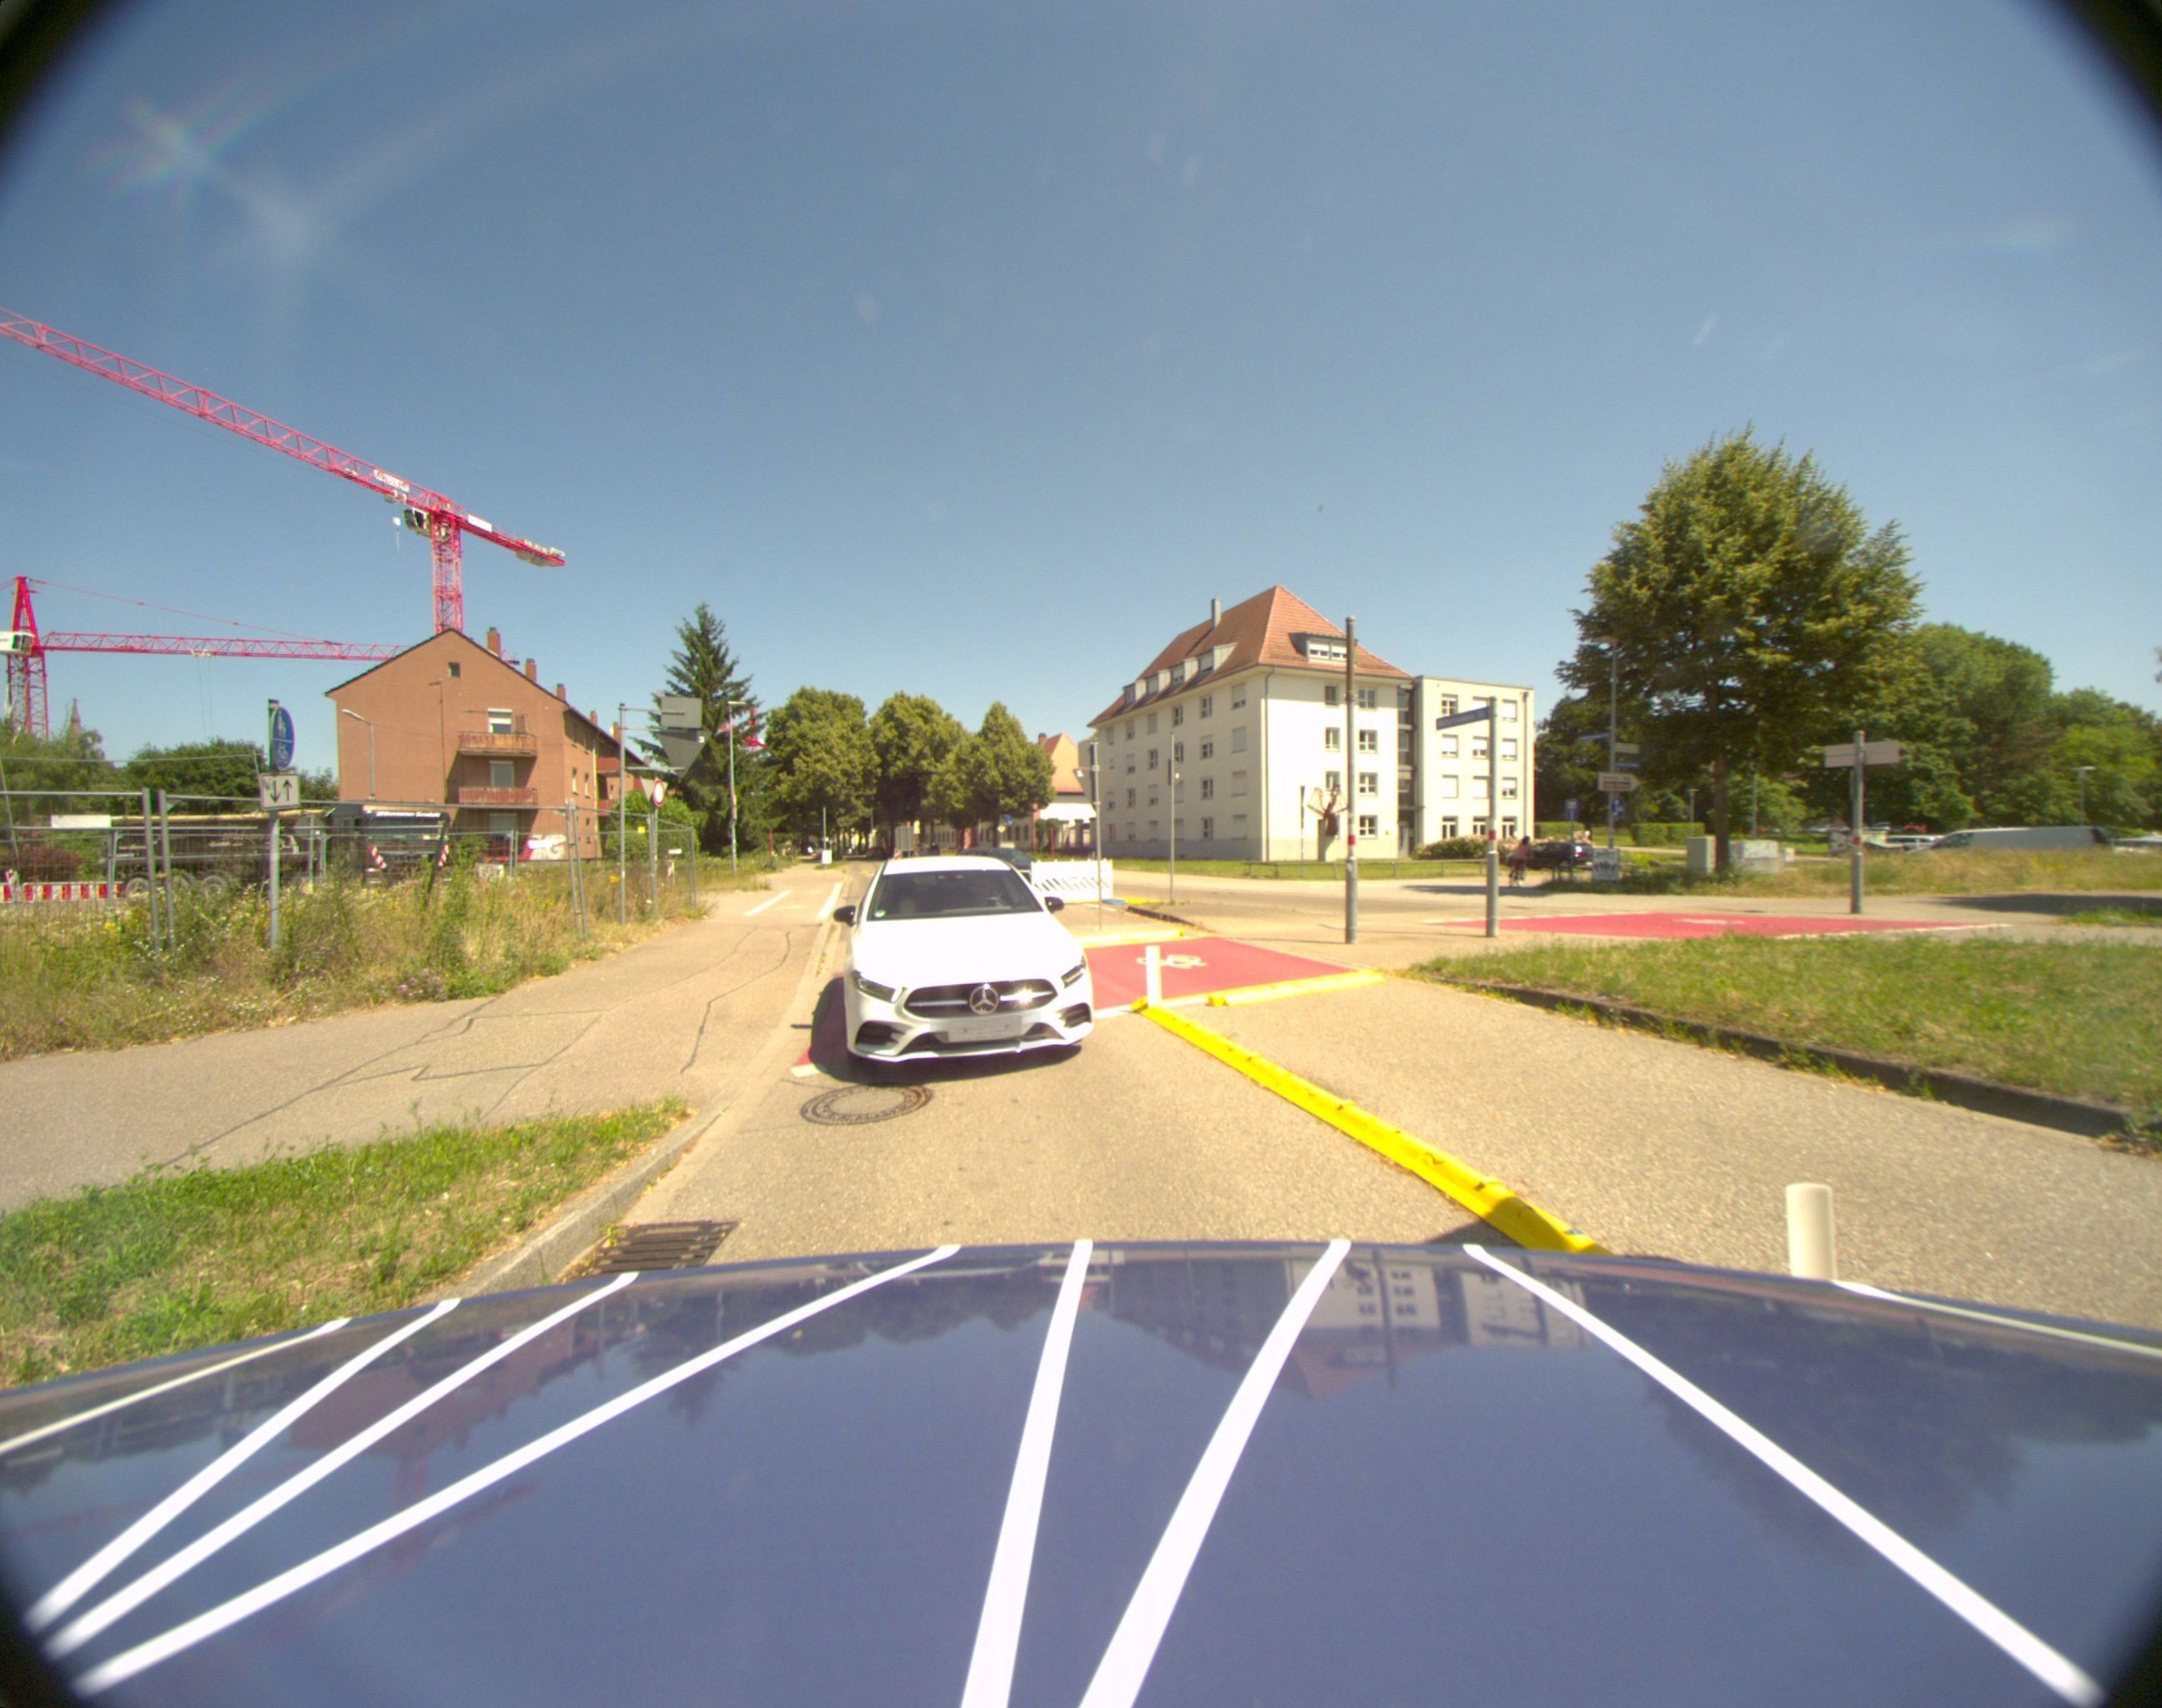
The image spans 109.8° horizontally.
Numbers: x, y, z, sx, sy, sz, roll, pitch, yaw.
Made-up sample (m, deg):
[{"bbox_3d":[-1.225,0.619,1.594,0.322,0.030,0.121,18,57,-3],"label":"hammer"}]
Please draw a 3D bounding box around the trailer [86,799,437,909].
[{"bbox_3d":[-28.567,-0.012,26.798,8.984,3.513,3.164,-1,1,2],"label":"trailer"}]

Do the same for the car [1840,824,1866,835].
[{"bbox_3d":[99.622,-3.163,98.034,3.032,1.408,1.476,-2,1,-27],"label":"car"}]

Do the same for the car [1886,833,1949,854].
[{"bbox_3d":[54.330,-0.682,49.367,1.084,1.350,2.525,-1,1,-15],"label":"car"}]

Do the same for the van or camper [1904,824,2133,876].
[{"bbox_3d":[36.290,-0.181,29.660,2.002,1.847,5.262,-1,1,-23],"label":"van or camper"}]

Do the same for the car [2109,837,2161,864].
[{"bbox_3d":[52.094,-0.175,36.231,1.357,1.274,3.378,-1,1,-15],"label":"car"}]

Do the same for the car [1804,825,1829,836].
[{"bbox_3d":[97.224,-3.159,100.400,3.032,1.408,1.476,-2,1,-27],"label":"car"}]

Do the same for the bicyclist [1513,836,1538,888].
[{"bbox_3d":[14.377,0.254,24.587,0.644,1.654,0.711,0,1,34],"label":"bicyclist"}]

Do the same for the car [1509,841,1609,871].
[{"bbox_3d":[22.772,0.076,36.365,1.661,1.319,3.800,-1,1,-22],"label":"car"}]

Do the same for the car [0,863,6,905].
[{"bbox_3d":[-43.290,1.207,28.595,3.417,1.604,1.369,-1,1,-3],"label":"car"}]

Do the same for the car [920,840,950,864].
[{"bbox_3d":[-11.960,-0.191,62.084,1.691,1.760,4.196,-2,2,-21],"label":"car"}]

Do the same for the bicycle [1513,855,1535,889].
[{"bbox_3d":[14.215,0.561,24.354,0.438,1.051,2.092,-1,0,34],"label":"bicycle"}]

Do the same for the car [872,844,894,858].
[{"bbox_3d":[-21.783,-0.345,83.607,1.646,1.374,3.881,-2,1,-25],"label":"car"}]

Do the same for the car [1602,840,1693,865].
[{"bbox_3d":[28.543,-0.093,38.380,1.358,1.210,3.507,-1,1,-22],"label":"car"}]

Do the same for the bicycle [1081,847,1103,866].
[{"bbox_3d":[0.642,0.155,45.063,0.710,1.018,1.982,-4,3,-16],"label":"bicycle"}]

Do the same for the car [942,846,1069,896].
[{"bbox_3d":[-2.599,0.512,25.306,1.805,1.443,4.605,-4,2,-41],"label":"car"}]

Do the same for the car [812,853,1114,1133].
[{"bbox_3d":[-1.199,0.822,6.630,1.782,1.537,3.957,-3,2,-15],"label":"car"}]

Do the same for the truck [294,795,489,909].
[{"bbox_3d":[-23.285,-0.074,25.713,4.952,3.513,3.170,0,1,26],"label":"truck"}]
